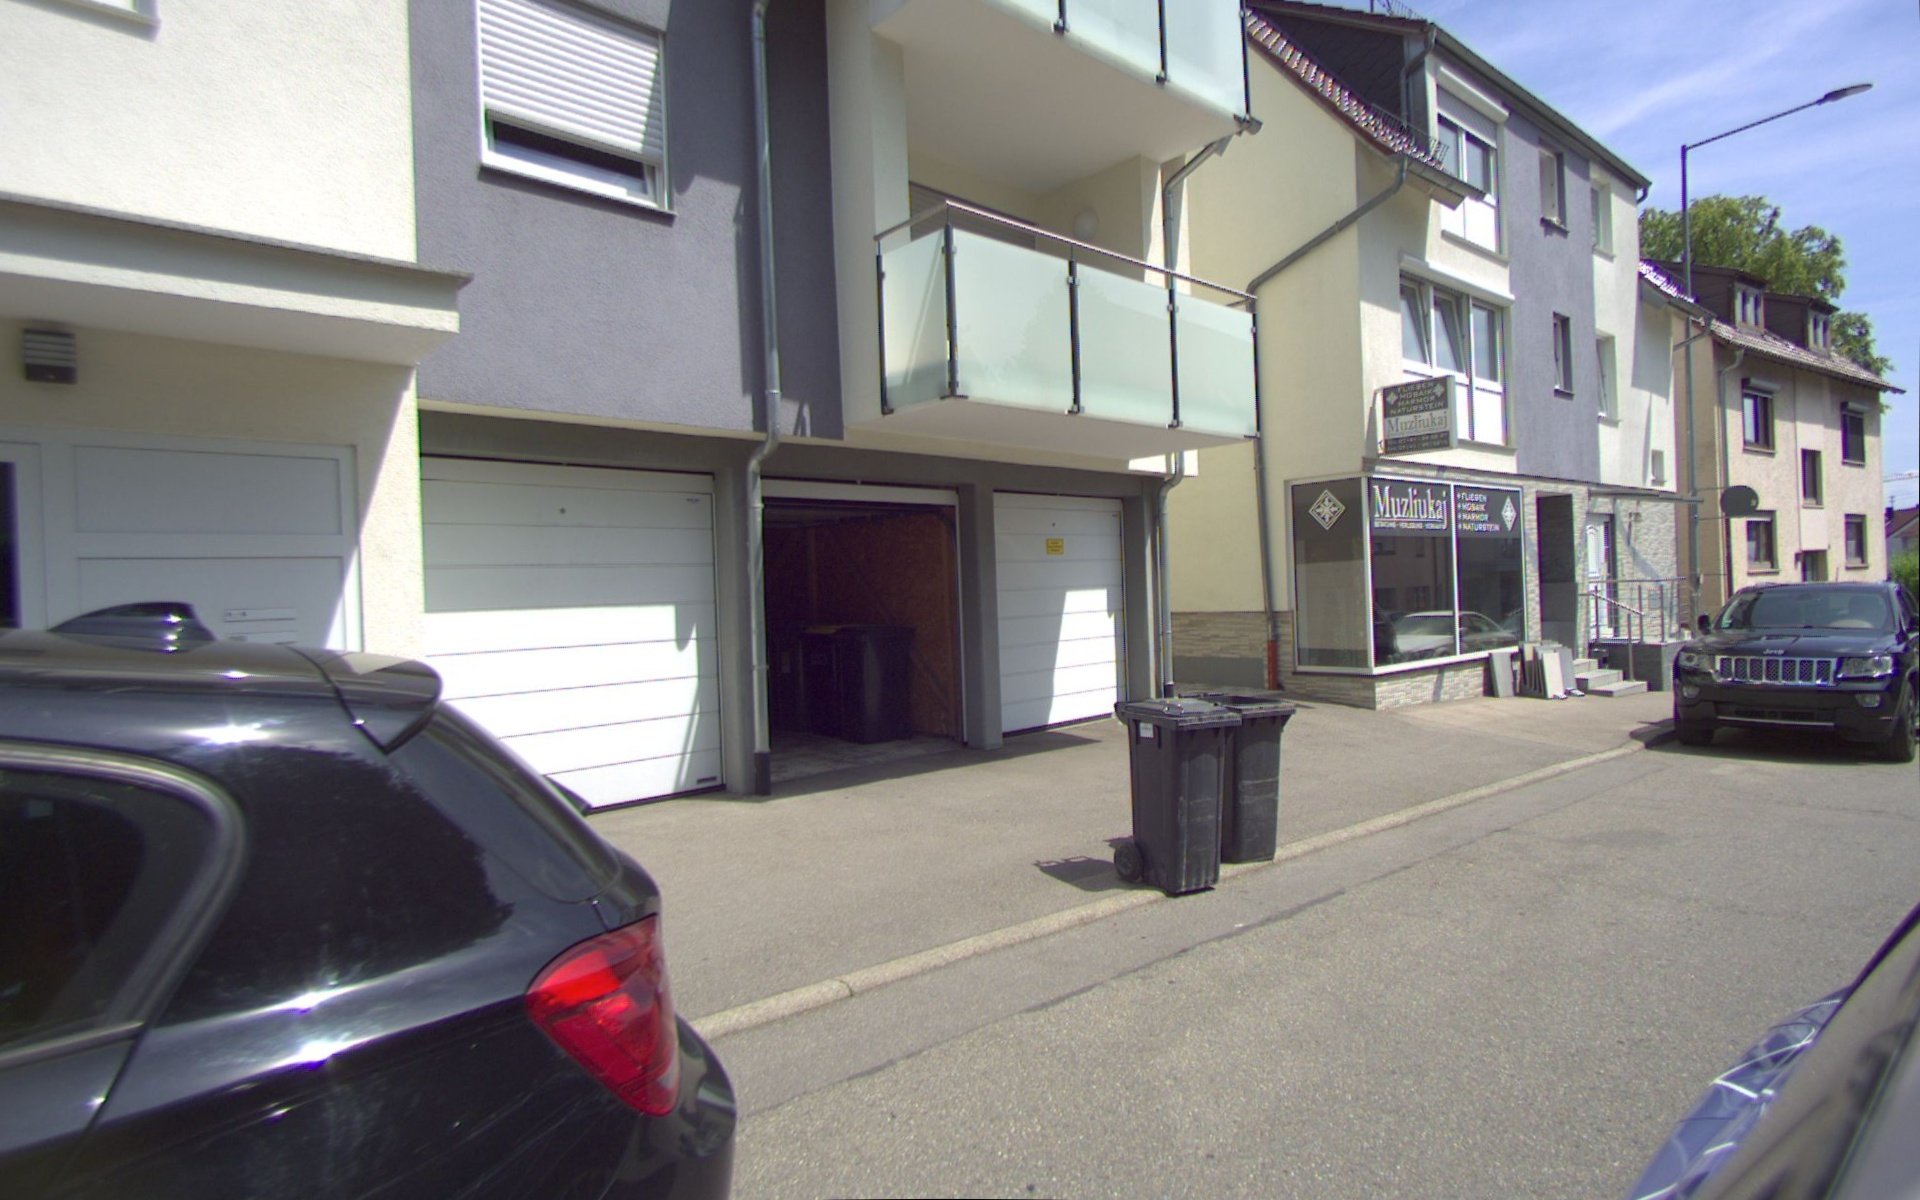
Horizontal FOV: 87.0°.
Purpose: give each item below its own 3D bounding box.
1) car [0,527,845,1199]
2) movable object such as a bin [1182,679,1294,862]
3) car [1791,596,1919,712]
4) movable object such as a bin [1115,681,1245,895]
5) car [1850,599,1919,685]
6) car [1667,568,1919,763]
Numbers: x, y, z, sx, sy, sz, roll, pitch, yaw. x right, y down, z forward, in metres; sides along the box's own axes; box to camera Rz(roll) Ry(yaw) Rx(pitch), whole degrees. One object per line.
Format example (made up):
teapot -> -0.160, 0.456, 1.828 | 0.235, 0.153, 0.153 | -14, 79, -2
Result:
car -> -2.331, 0.675, 0.698 | 4.215, 1.442, 1.800 | -1, 0, -40
movable object such as a bin -> 1.598, 0.951, 5.816 | 0.483, 0.936, 0.432 | 0, 0, -41
car -> 13.771, 0.691, 14.776 | 4.634, 1.474, 1.791 | 0, -1, -41
movable object such as a bin -> 1.134, 0.936, 5.219 | 0.508, 0.968, 0.432 | 0, 1, -41
car -> 17.693, 0.688, 18.191 | 4.279, 1.438, 1.793 | 0, -1, -39
car -> 9.697, 0.592, 11.251 | 4.634, 1.738, 1.956 | 0, -1, -41
